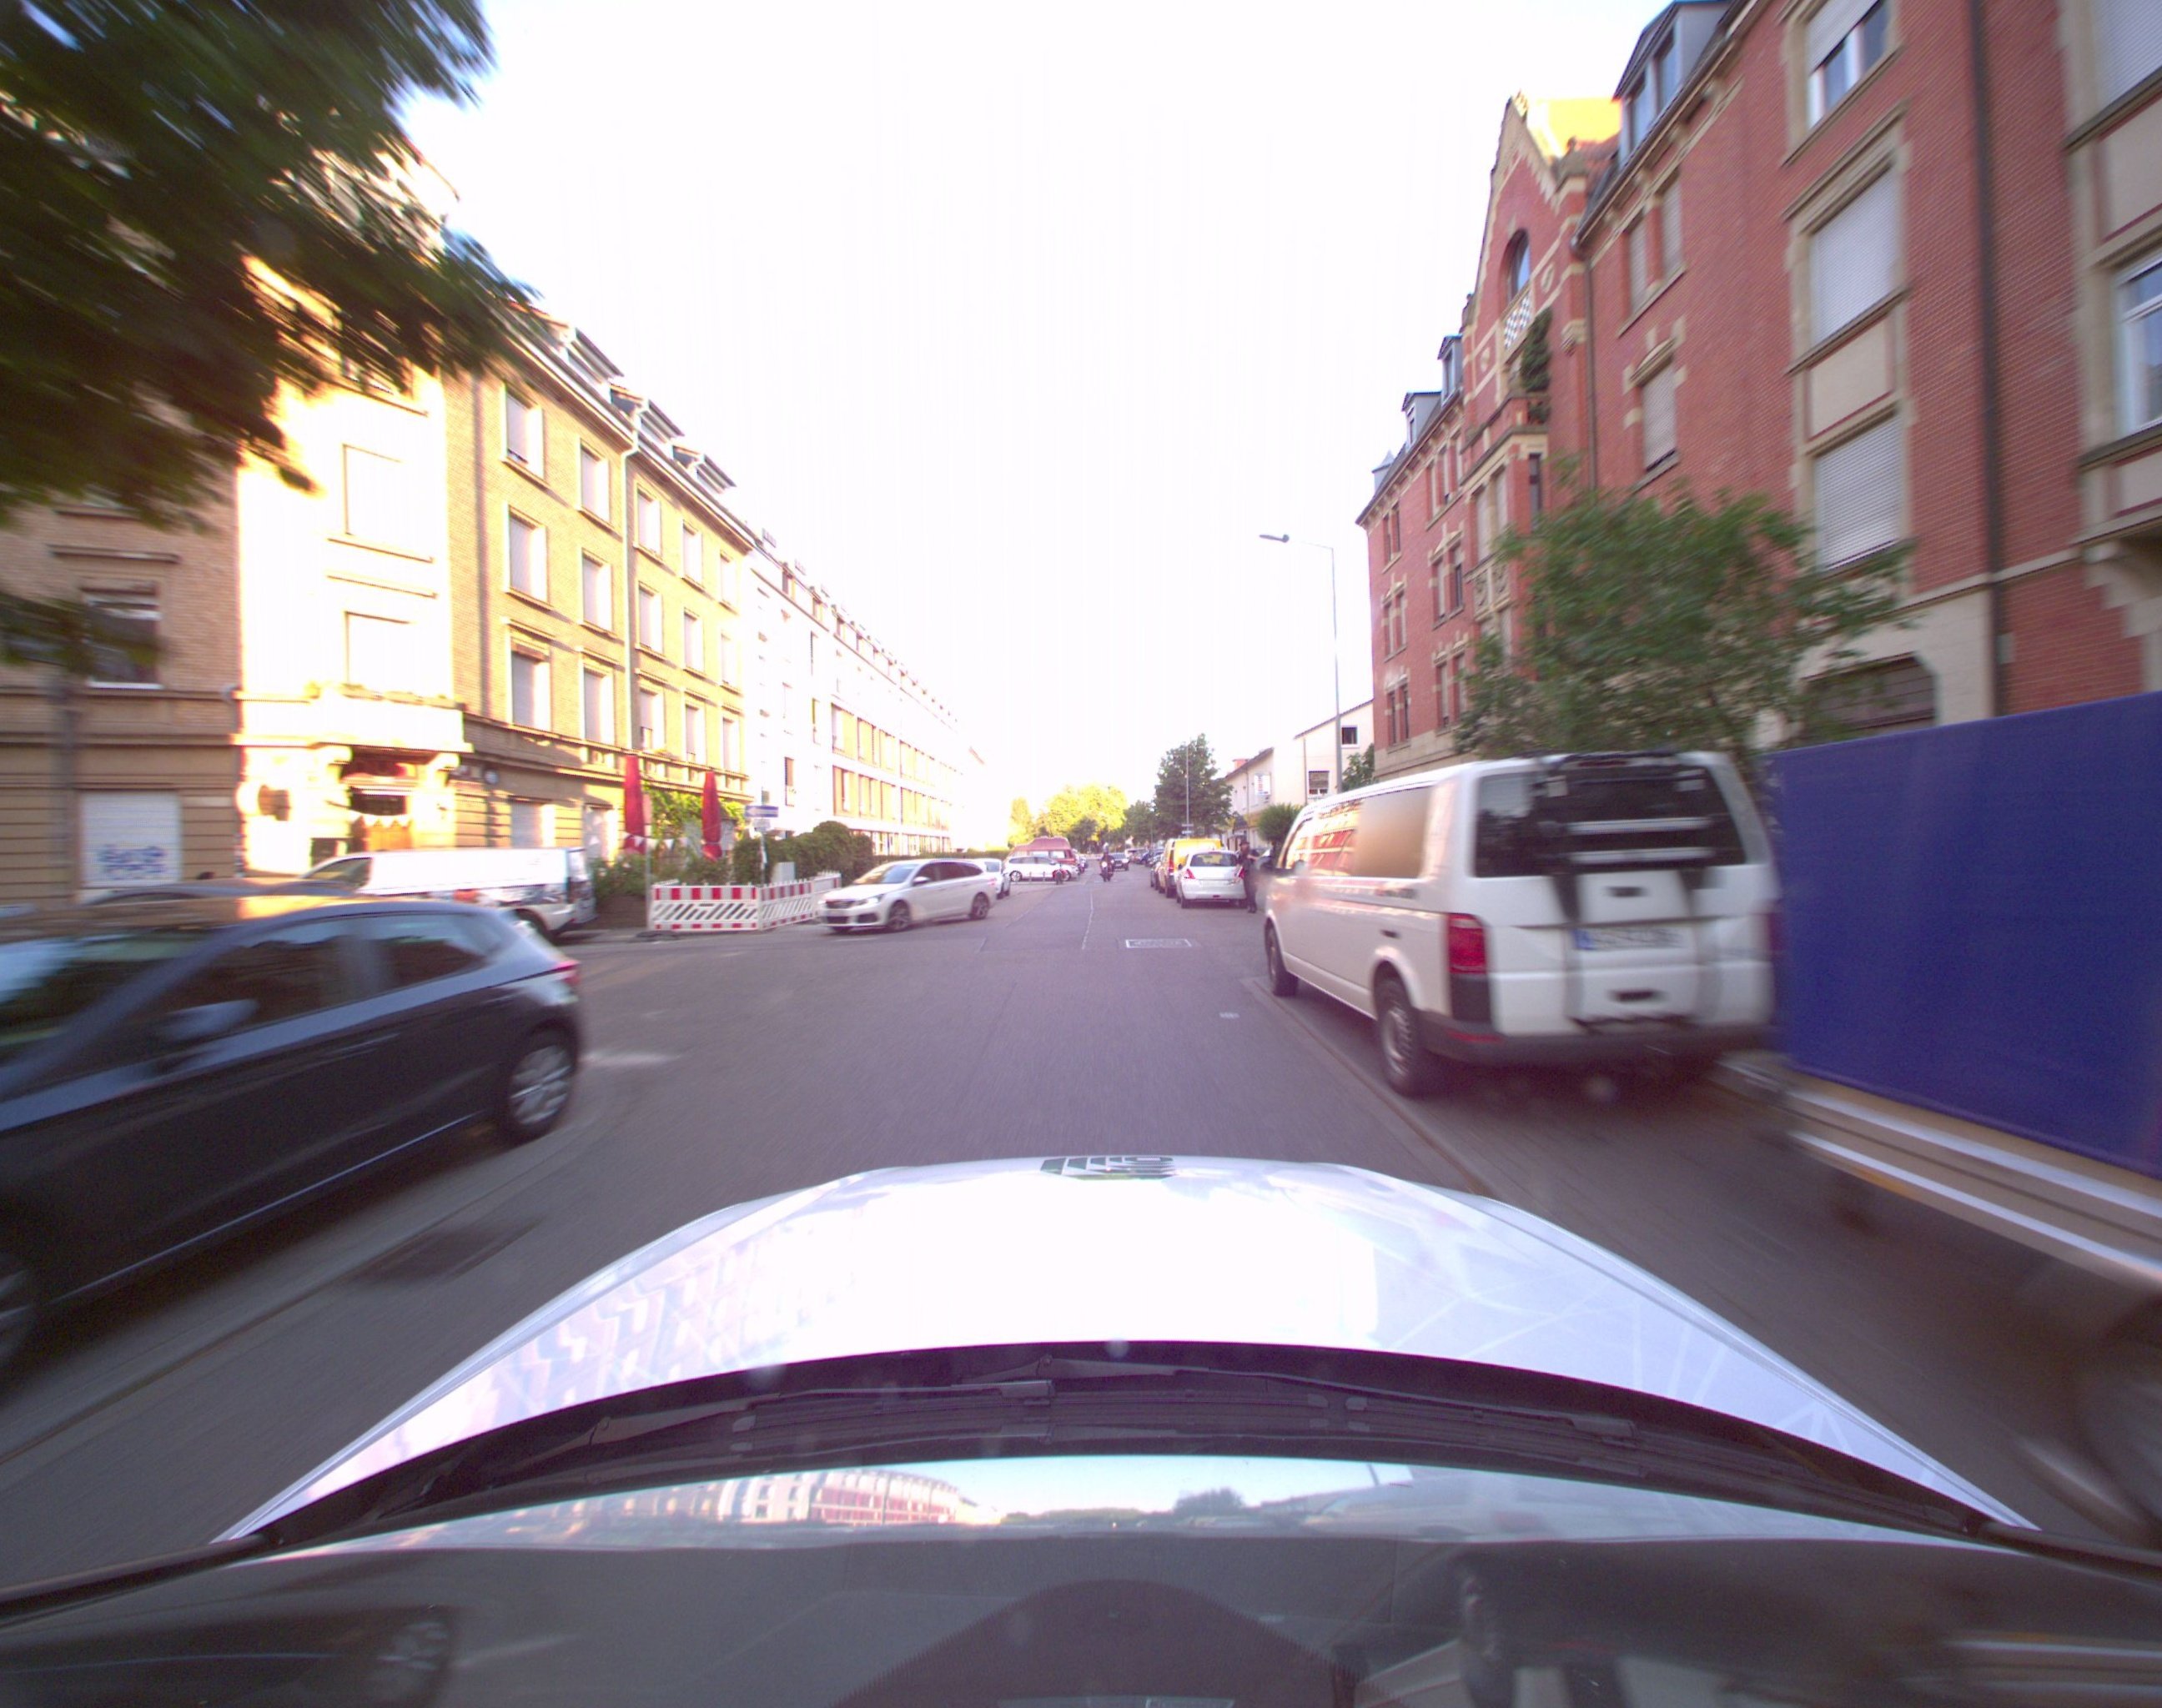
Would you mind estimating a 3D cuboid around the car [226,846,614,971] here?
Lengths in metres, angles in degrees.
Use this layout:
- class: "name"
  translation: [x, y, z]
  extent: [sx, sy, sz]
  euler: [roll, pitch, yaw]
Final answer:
- class: "car"
  translation: [-12.207, 0.898, 15.631]
  extent: [5.298, 1.975, 2.193]
  euler: [-2, 1, -22]

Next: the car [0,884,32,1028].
- class: "car"
  translation: [-13.582, 1.093, 8.337]
  extent: [4.030, 1.508, 1.981]
  euler: [0, 0, 14]

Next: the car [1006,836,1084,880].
- class: "car"
  translation: [-2.110, 0.232, 48.823]
  extent: [4.492, 2.584, 2.002]
  euler: [0, 0, 3]

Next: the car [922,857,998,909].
- class: "car"
  translation: [-3.822, 0.872, 26.283]
  extent: [1.697, 1.534, 3.846]
  euler: [-1, 0, 2]

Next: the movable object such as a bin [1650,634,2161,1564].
- class: "movable object such as a bin"
  translation: [2.860, 0.470, 1.878]
  extent: [1.407, 1.878, 2.325]
  euler: [-3, 0, 1]

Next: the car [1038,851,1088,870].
- class: "car"
  translation: [-1.577, 0.556, 71.252]
  extent: [4.240, 1.652, 1.889]
  euler: [0, 0, 1]

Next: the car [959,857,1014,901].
- class: "car"
  translation: [-3.566, 0.906, 31.379]
  extent: [1.646, 1.530, 4.016]
  euler: [-1, 0, -1]

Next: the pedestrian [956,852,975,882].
- class: "pedestrian"
  translation: [-5.905, 0.673, 41.593]
  extent: [0.829, 1.501, 0.798]
  euler: [0, 0, 2]

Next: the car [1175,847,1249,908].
- class: "car"
  translation: [3.446, 0.585, 22.042]
  extent: [1.667, 1.477, 3.866]
  euler: [-1, 0, 4]

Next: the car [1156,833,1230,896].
- class: "car"
  translation: [3.646, 0.315, 27.295]
  extent: [1.886, 1.884, 5.084]
  euler: [-1, 0, 2]

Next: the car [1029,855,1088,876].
- class: "car"
  translation: [-1.604, 0.826, 58.993]
  extent: [4.192, 1.490, 1.851]
  euler: [0, 0, 2]

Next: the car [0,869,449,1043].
- class: "car"
  translation: [-9.080, 0.976, 8.491]
  extent: [3.494, 1.507, 1.845]
  euler: [-1, 1, 1]

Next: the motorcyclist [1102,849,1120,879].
- class: "motorcyclist"
  translation: [1.640, 0.537, 44.537]
  extent: [0.782, 1.540, 0.547]
  euler: [-4, -1, 11]

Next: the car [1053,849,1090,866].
- class: "car"
  translation: [-1.208, 0.410, 102.329]
  extent: [4.516, 2.134, 2.001]
  euler: [0, 0, 1]

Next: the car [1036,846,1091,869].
- class: "car"
  translation: [-1.562, 0.327, 73.810]
  extent: [4.832, 2.021, 1.907]
  euler: [0, 0, 1]

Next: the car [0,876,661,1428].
- class: "car"
  translation: [-3.897, 0.903, 3.671]
  extent: [1.669, 1.461, 4.463]
  euler: [-1, 0, 0]

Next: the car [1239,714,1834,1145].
- class: "car"
  translation: [2.797, 0.369, 6.815]
  extent: [1.855, 2.039, 5.545]
  euler: [-3, 0, 1]

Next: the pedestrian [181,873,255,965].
- class: "pedestrian"
  translation: [-16.006, 1.174, 15.123]
  extent: [0.790, 1.618, 0.704]
  euler: [0, 0, -34]

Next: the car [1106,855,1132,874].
- class: "car"
  translation: [3.322, 0.863, 70.315]
  extent: [1.769, 1.517, 4.009]
  euler: [-3, 0, 8]

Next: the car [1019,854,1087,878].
- class: "car"
  translation: [-1.705, 0.743, 51.381]
  extent: [4.195, 1.538, 1.791]
  euler: [0, 0, 0]

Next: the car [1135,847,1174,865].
- class: "car"
  translation: [8.931, 0.275, 99.683]
  extent: [4.469, 1.911, 1.686]
  euler: [-3, 0, -3]

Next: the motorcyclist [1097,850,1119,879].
- class: "motorcyclist"
  translation: [1.464, 0.568, 43.771]
  extent: [0.883, 1.505, 0.972]
  euler: [-4, -1, 11]

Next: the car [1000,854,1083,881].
- class: "car"
  translation: [-2.226, 0.764, 46.244]
  extent: [4.603, 1.460, 1.880]
  euler: [0, 0, -2]

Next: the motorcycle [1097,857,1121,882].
- class: "motorcycle"
  translation: [1.517, 0.830, 44.038]
  extent: [0.841, 1.209, 2.081]
  euler: [-4, 0, 12]

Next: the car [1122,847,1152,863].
- class: "car"
  translation: [7.877, 0.156, 115.323]
  extent: [3.959, 1.911, 2.047]
  euler: [-3, 0, -3]

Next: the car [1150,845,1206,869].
- class: "car"
  translation: [9.159, 0.267, 77.231]
  extent: [4.928, 1.958, 2.049]
  euler: [-3, 0, 0]

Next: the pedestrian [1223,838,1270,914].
- class: "pedestrian"
  translation: [3.869, 0.489, 18.996]
  extent: [0.880, 1.722, 0.964]
  euler: [0, 0, 23]

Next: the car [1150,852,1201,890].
- class: "car"
  translation: [3.774, 0.654, 32.977]
  extent: [1.715, 1.424, 4.255]
  euler: [0, 0, 2]

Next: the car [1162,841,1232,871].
- class: "car"
  translation: [8.779, 0.136, 62.067]
  extent: [4.970, 1.983, 2.221]
  euler: [-3, 0, 2]

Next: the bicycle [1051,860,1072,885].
- class: "bicycle"
  translation: [-0.975, 0.901, 40.906]
  extent: [0.804, 1.221, 2.868]
  euler: [0, 0, 3]

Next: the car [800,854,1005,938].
- class: "car"
  translation: [-3.748, 0.842, 18.044]
  extent: [1.798, 1.523, 4.626]
  euler: [-2, 0, 28]
